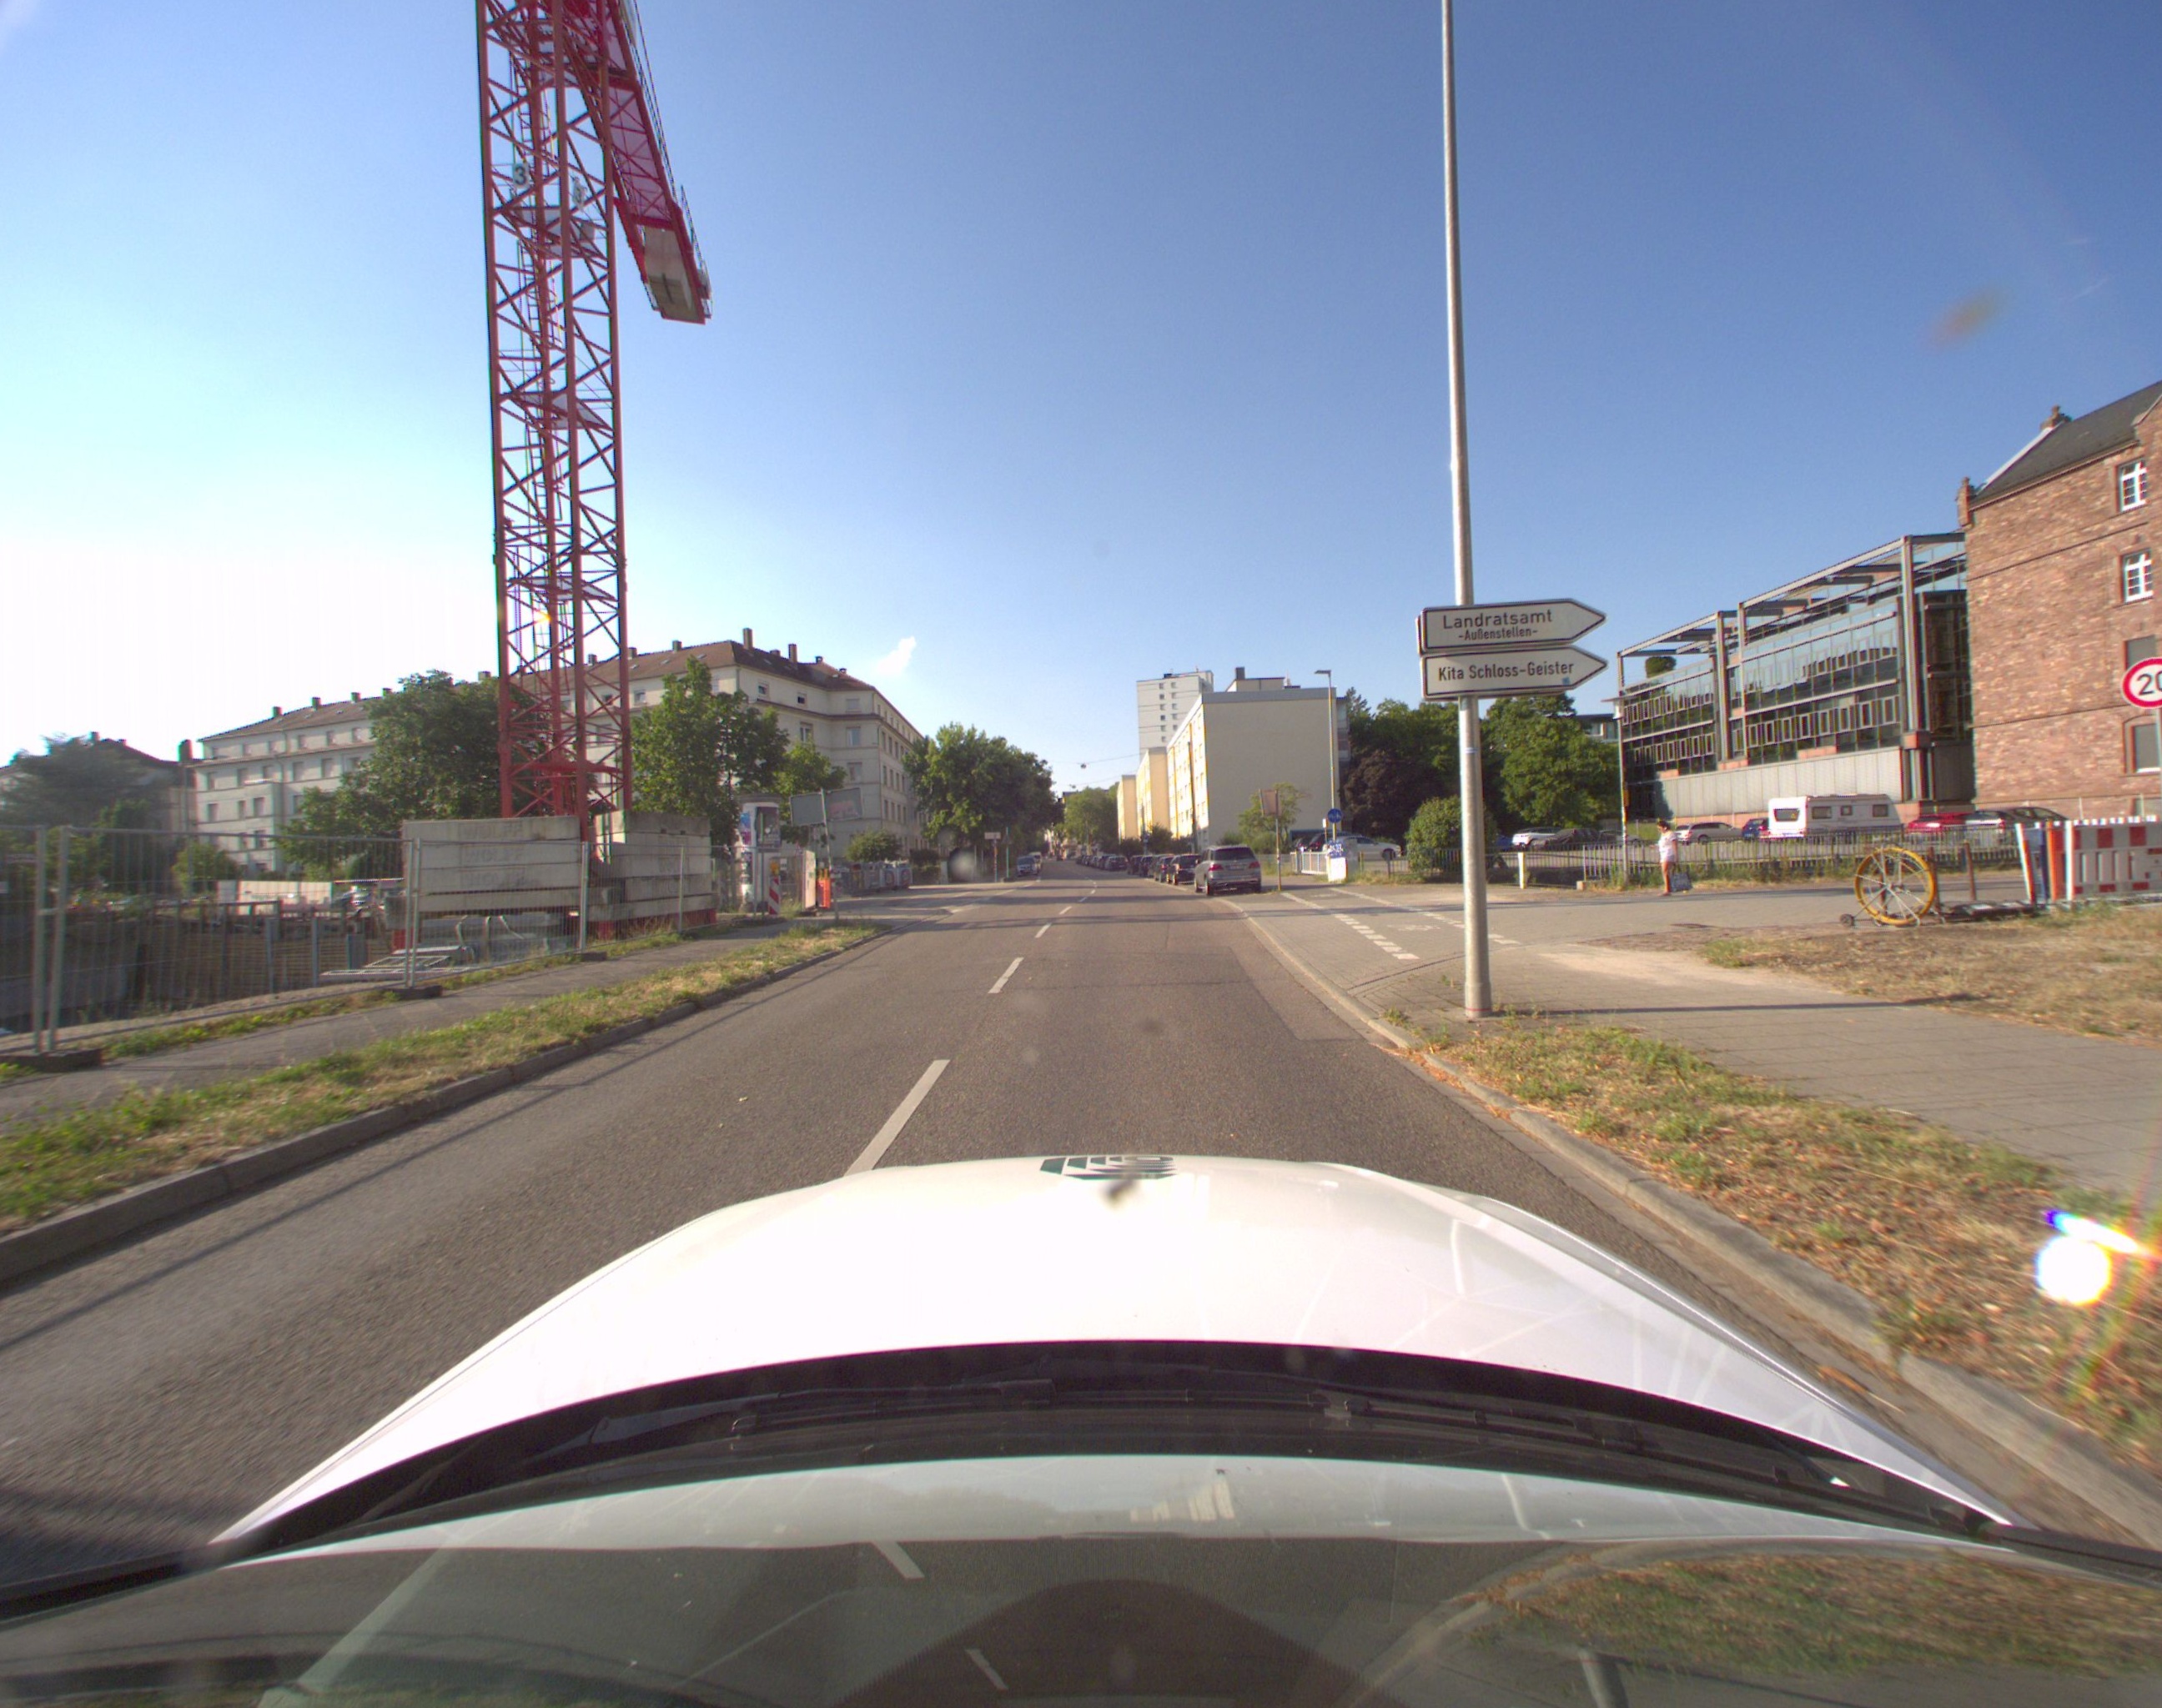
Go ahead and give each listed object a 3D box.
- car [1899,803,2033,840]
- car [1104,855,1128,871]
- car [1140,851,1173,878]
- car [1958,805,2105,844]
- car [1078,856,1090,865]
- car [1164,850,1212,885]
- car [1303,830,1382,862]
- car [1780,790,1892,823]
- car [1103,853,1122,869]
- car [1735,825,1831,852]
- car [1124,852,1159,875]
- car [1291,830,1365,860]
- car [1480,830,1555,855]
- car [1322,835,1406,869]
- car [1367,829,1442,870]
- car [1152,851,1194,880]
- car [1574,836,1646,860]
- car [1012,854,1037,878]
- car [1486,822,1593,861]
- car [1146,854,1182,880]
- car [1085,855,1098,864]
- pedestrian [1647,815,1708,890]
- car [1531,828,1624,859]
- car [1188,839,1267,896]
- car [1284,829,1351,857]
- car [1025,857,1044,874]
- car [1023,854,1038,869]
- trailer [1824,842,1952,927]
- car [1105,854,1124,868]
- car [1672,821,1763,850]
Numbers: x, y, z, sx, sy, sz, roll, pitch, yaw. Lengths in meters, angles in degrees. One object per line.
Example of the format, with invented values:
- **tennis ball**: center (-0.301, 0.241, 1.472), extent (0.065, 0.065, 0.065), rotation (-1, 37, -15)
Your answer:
- **car**: center (39.924, -1.451, 36.806), extent (4.058, 1.503, 1.830), rotation (0, -1, 0)
- **car**: center (3.467, 0.955, 82.215), extent (1.796, 1.507, 4.613), rotation (-2, -1, -5)
- **car**: center (5.225, 0.778, 57.117), extent (1.895, 1.779, 4.581), rotation (0, -1, 0)
- **car**: center (39.872, -1.237, 34.240), extent (4.058, 1.503, 1.830), rotation (0, -1, 0)
- **car**: center (0.570, 1.279, 155.223), extent (1.895, 1.651, 4.335), rotation (-2, 0, -5)
- **car**: center (5.323, 0.698, 40.980), extent (1.736, 1.541, 4.438), rotation (-4, -1, 0)
- **car**: center (15.372, -0.477, 47.999), extent (3.977, 1.794, 1.998), rotation (0, -1, -3)
- **car**: center (38.410, -2.397, 41.481), extent (4.061, 1.503, 1.829), rotation (0, -1, -3)
- **car**: center (3.604, 0.841, 93.478), extent (1.767, 1.678, 4.641), rotation (1, -1, -3)
- **car**: center (40.485, -0.885, 47.017), extent (4.061, 1.503, 1.829), rotation (0, -1, -3)
- **car**: center (4.715, 0.776, 64.492), extent (1.883, 1.561, 4.938), rotation (-7, -1, -4)
- **car**: center (15.372, -0.563, 50.856), extent (3.975, 1.794, 1.999), rotation (0, -1, -1)
- **car**: center (30.933, -0.794, 57.828), extent (4.263, 1.725, 1.998), rotation (0, -1, -3)
- **car**: center (15.783, -0.094, 45.505), extent (3.977, 1.794, 1.998), rotation (0, -1, -3)
- **car**: center (14.040, -0.138, 35.539), extent (1.648, 1.662, 3.998), rotation (0, -1, 0)
- **car**: center (5.270, 0.687, 47.170), extent (1.895, 1.529, 4.809), rotation (0, -1, 0)
- **car**: center (40.383, -0.430, 62.252), extent (4.263, 1.725, 1.998), rotation (0, -1, -3)
- **car**: center (-4.773, 1.075, 69.567), extent (1.836, 1.896, 4.484), rotation (3, -1, -1)
- **car**: center (21.923, -0.584, 39.049), extent (3.977, 1.794, 1.998), rotation (0, -1, -3)
- **car**: center (5.243, 0.787, 51.920), extent (1.647, 1.436, 3.954), rotation (-3, 1, -4)
- **car**: center (1.685, 0.920, 131.791), extent (1.832, 1.501, 4.169), rotation (0, -1, -1)
- **pedestrian**: center (13.135, -0.018, 17.956), extent (0.712, 1.611, 0.788), rotation (0, -2, -4)
- **car**: center (29.012, -0.619, 47.643), extent (4.263, 1.725, 1.998), rotation (0, -1, -3)
- **car**: center (5.313, 0.513, 30.121), extent (1.915, 1.779, 4.809), rotation (-6, -1, 0)
- **car**: center (16.093, -0.736, 55.530), extent (3.977, 1.794, 1.998), rotation (0, -1, -3)
- **car**: center (-4.864, 1.224, 84.906), extent (1.870, 1.759, 4.682), rotation (0, -1, -4)
- **car**: center (-8.243, 1.291, 133.854), extent (2.352, 2.446, 6.158), rotation (0, -1, -2)
- **trailer**: center (10.731, 0.396, 10.883), extent (0.480, 1.067, 1.268), rotation (0, -1, 4)
- **car**: center (3.596, 0.789, 88.234), extent (1.767, 1.508, 3.996), rotation (0, -1, -3)
- **car**: center (40.146, -1.127, 51.411), extent (4.263, 1.725, 1.998), rotation (0, -1, -3)
